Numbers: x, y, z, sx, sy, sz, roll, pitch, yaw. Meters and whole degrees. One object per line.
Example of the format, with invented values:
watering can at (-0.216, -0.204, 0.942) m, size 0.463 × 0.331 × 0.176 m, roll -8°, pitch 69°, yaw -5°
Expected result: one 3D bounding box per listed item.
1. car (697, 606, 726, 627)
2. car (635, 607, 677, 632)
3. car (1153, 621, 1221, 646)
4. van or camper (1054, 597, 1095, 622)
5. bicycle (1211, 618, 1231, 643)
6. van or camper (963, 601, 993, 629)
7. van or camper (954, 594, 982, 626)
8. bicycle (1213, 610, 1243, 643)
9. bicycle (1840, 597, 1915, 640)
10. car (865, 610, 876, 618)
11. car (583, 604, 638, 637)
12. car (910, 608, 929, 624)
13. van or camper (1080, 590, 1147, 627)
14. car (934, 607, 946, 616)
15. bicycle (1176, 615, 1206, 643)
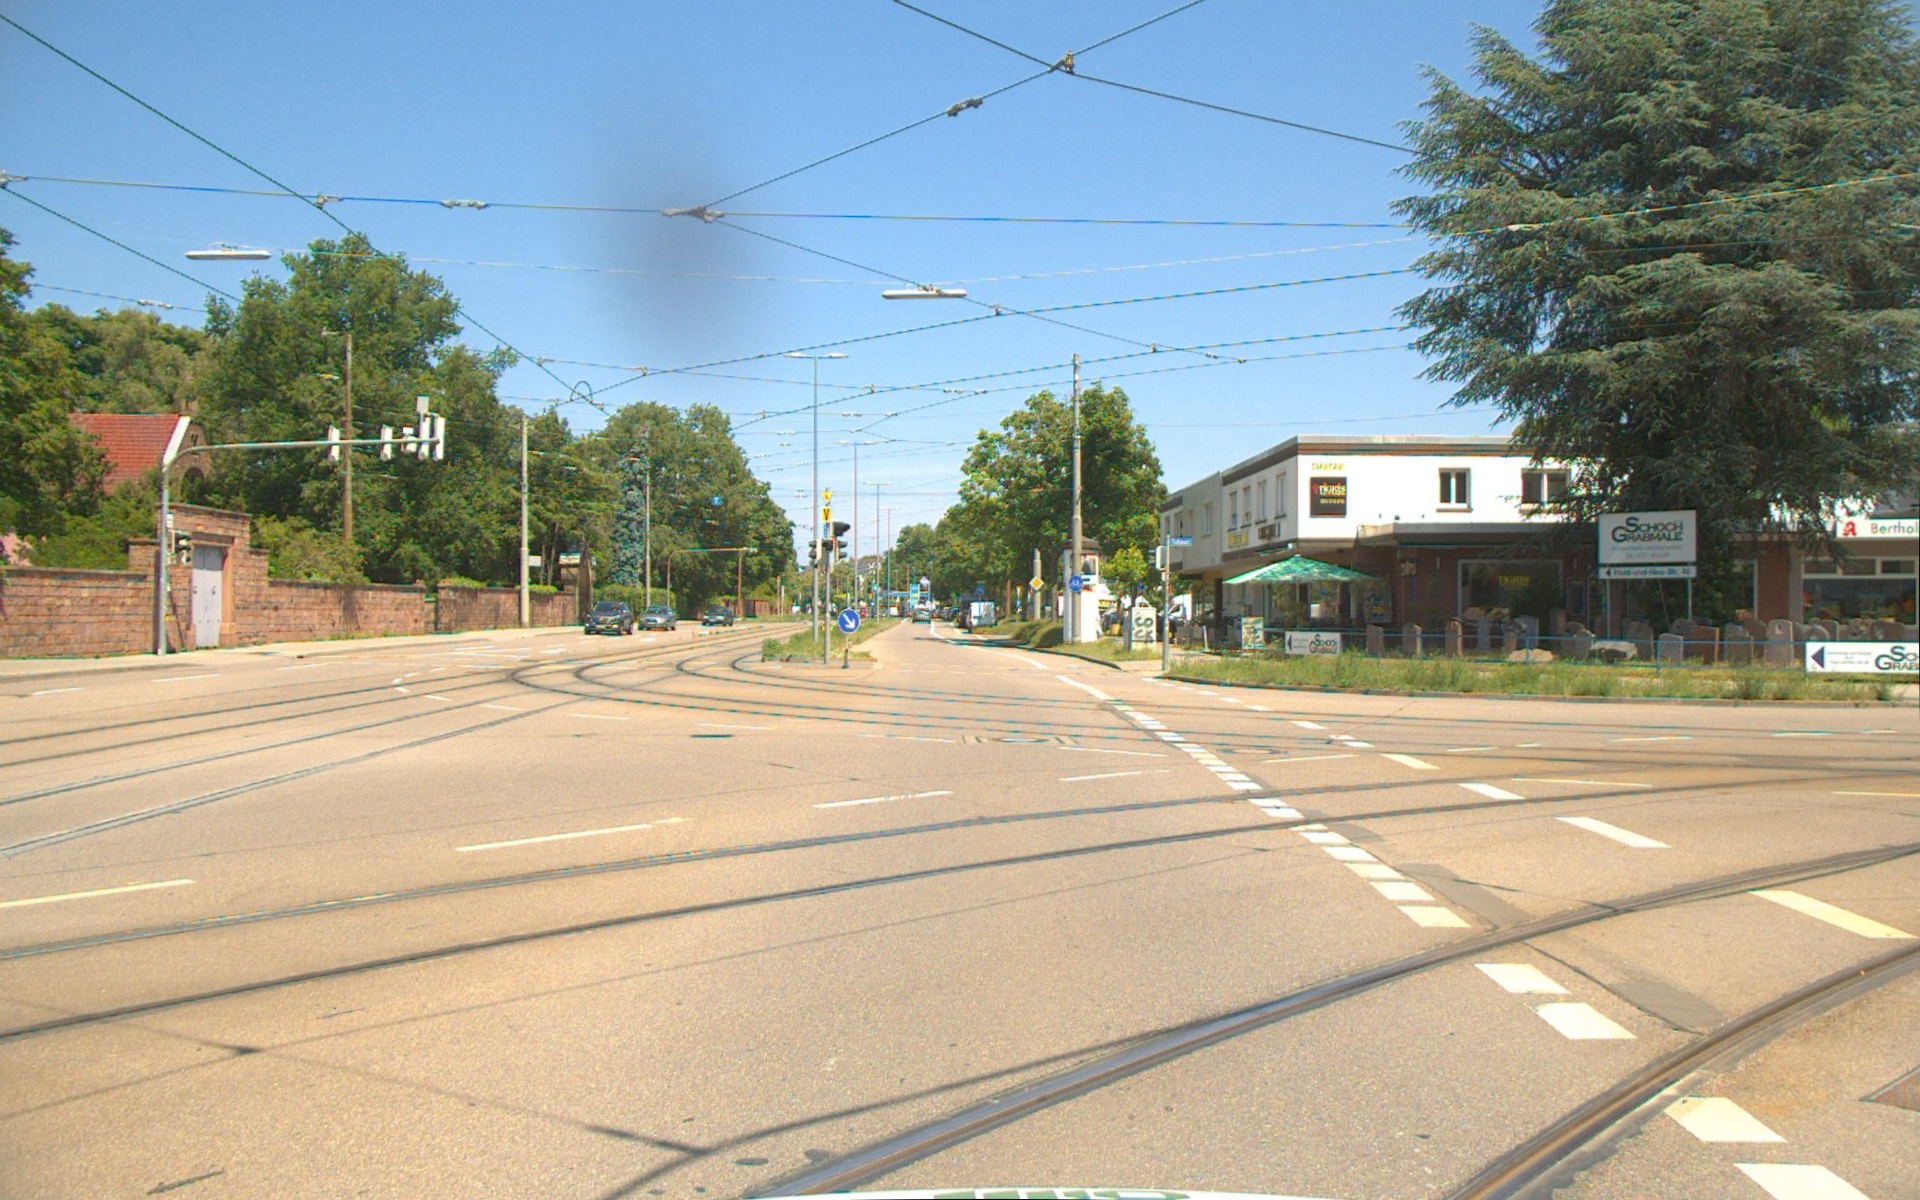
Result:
car at (-18.224, 1.207, 121.307) m, size 1.608 × 1.424 × 4.114 m, roll 2°, pitch 0°, yaw -2°
car at (-17.905, 1.131, 97.524) m, size 1.607 × 1.446 × 4.168 m, roll 0°, pitch 0°, yaw 1°
car at (12.643, 1.853, 92.251) m, size 3.539 × 1.375 × 1.488 m, roll 0°, pitch 0°, yaw -8°
van or camper at (10.047, 0.812, 145.576) m, size 3.486 × 2.183 × 1.601 m, roll 0°, pitch 0°, yaw -3°
bicycle at (11.978, 1.388, 75.840) m, size 0.497 × 1.084 × 1.862 m, roll 0°, pitch 0°, yaw -4°
van or camper at (1.179, 0.951, 107.933) m, size 1.883 × 1.803 × 3.999 m, roll 0°, pitch 0°, yaw -1°
van or camper at (0.592, 0.765, 130.177) m, size 1.954 × 2.507 × 3.997 m, roll 0°, pitch 0°, yaw -4°
bicycle at (10.009, 0.980, 61.871) m, size 0.968 × 1.184 × 2.639 m, roll 0°, pitch 0°, yaw 6°
bicycle at (27.033, 0.546, 48.751) m, size 1.831 × 1.213 × 0.599 m, roll 2°, pitch -1°, yaw 10°
car at (-12.680, 2.011, 235.252) m, size 1.462 × 1.064 × 3.578 m, roll 0°, pitch 0°, yaw -2°
car at (-17.553, 1.009, 83.237) m, size 1.782 × 1.631 × 4.520 m, roll 0°, pitch 0°, yaw 0°
car at (-3.731, 1.477, 153.145) m, size 1.604 × 1.375 × 3.839 m, roll 0°, pitch 0°, yaw -4°
van or camper at (11.250, 0.625, 121.132) m, size 4.661 × 2.718 × 2.134 m, roll 0°, pitch 0°, yaw -3°
car at (-2.929, 1.618, 242.959) m, size 1.493 × 1.319 × 3.490 m, roll 0°, pitch 0°, yaw -4°
bicycle at (8.708, 1.089, 62.439) m, size 1.012 × 1.032 × 2.639 m, roll 0°, pitch 0°, yaw 6°
